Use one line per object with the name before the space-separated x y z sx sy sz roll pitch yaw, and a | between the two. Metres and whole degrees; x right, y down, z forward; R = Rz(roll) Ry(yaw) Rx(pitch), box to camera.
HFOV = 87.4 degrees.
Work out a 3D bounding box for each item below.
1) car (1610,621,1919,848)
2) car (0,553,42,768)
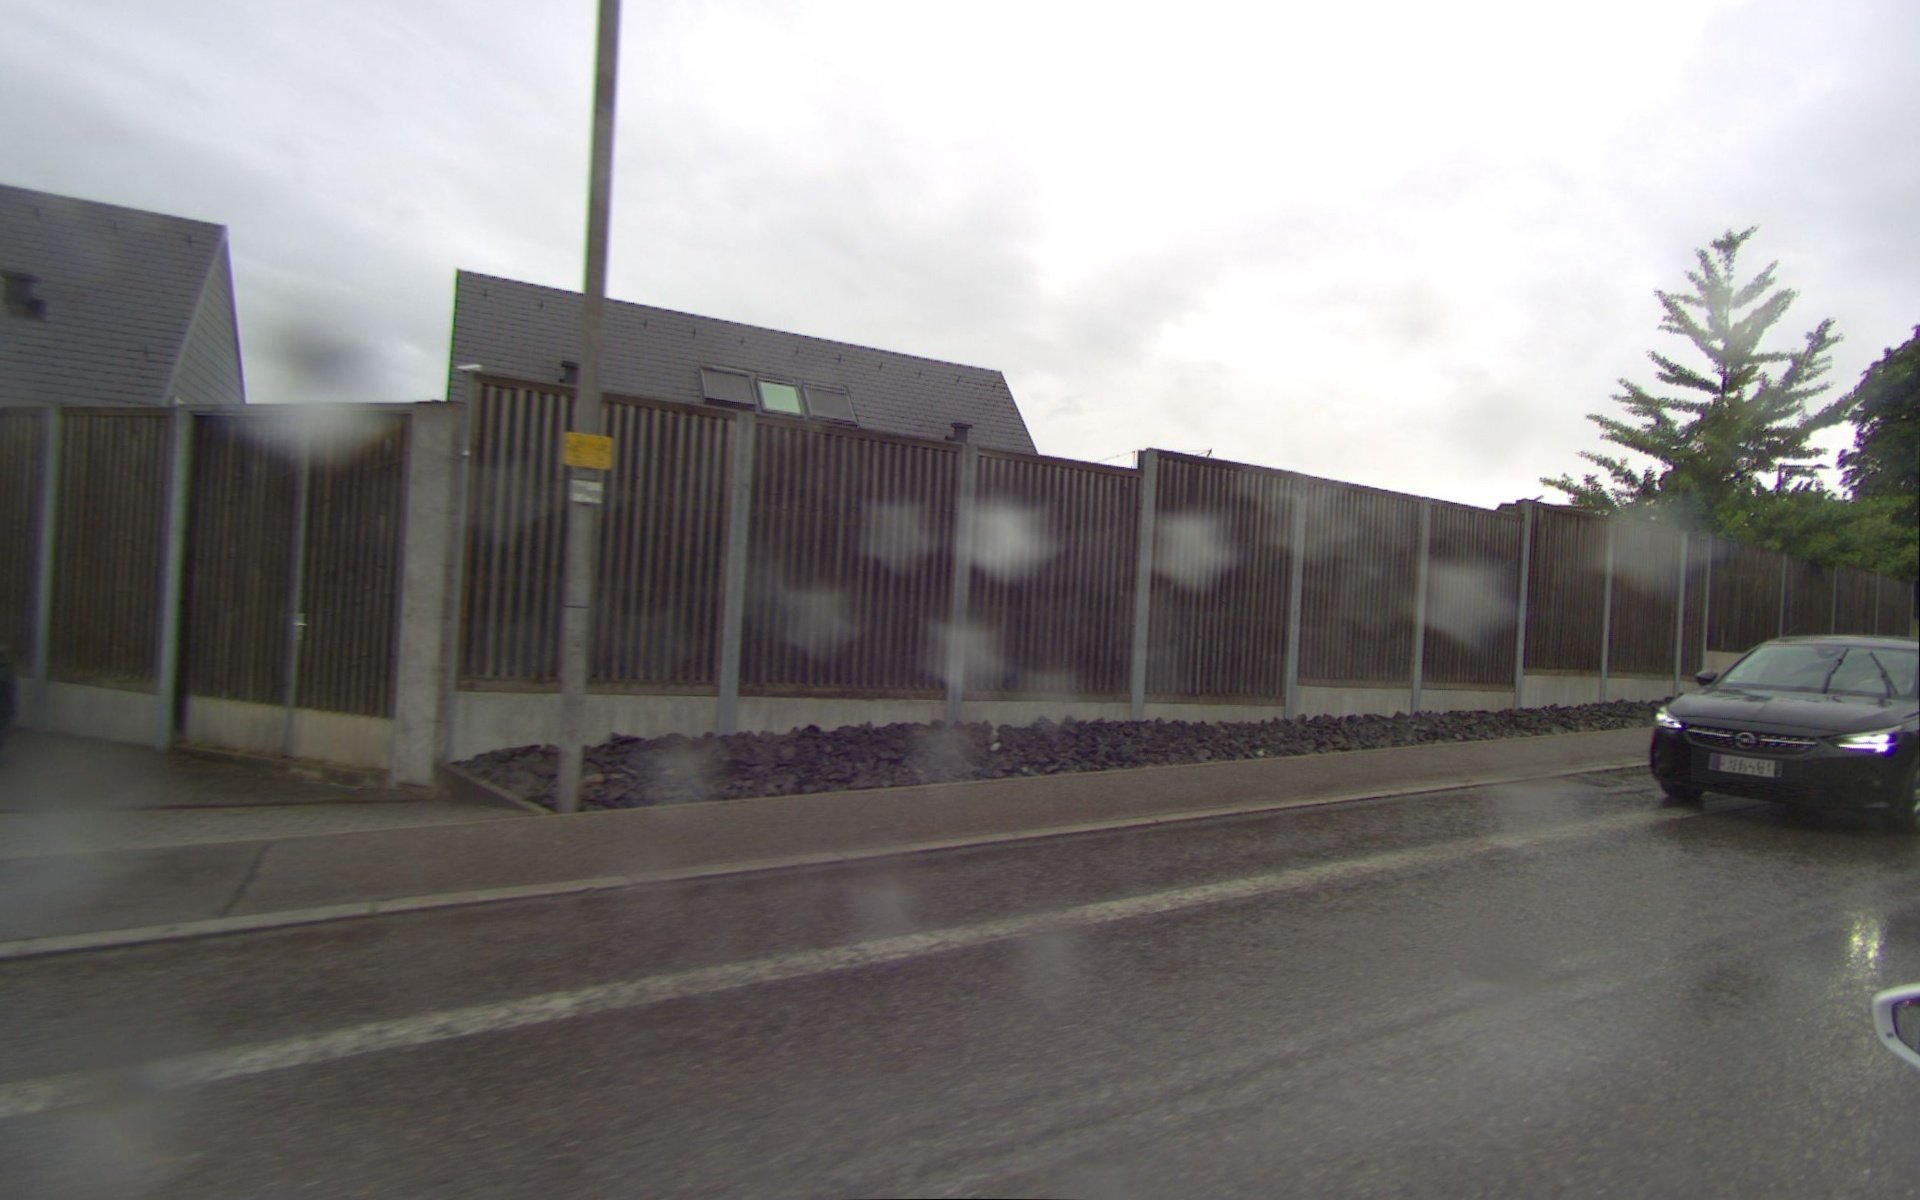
car | 7.712 0.978 8.721 4.162 1.469 1.871 2 0 -32
car | -9.412 0.369 7.930 4.214 1.622 1.835 3 1 27
